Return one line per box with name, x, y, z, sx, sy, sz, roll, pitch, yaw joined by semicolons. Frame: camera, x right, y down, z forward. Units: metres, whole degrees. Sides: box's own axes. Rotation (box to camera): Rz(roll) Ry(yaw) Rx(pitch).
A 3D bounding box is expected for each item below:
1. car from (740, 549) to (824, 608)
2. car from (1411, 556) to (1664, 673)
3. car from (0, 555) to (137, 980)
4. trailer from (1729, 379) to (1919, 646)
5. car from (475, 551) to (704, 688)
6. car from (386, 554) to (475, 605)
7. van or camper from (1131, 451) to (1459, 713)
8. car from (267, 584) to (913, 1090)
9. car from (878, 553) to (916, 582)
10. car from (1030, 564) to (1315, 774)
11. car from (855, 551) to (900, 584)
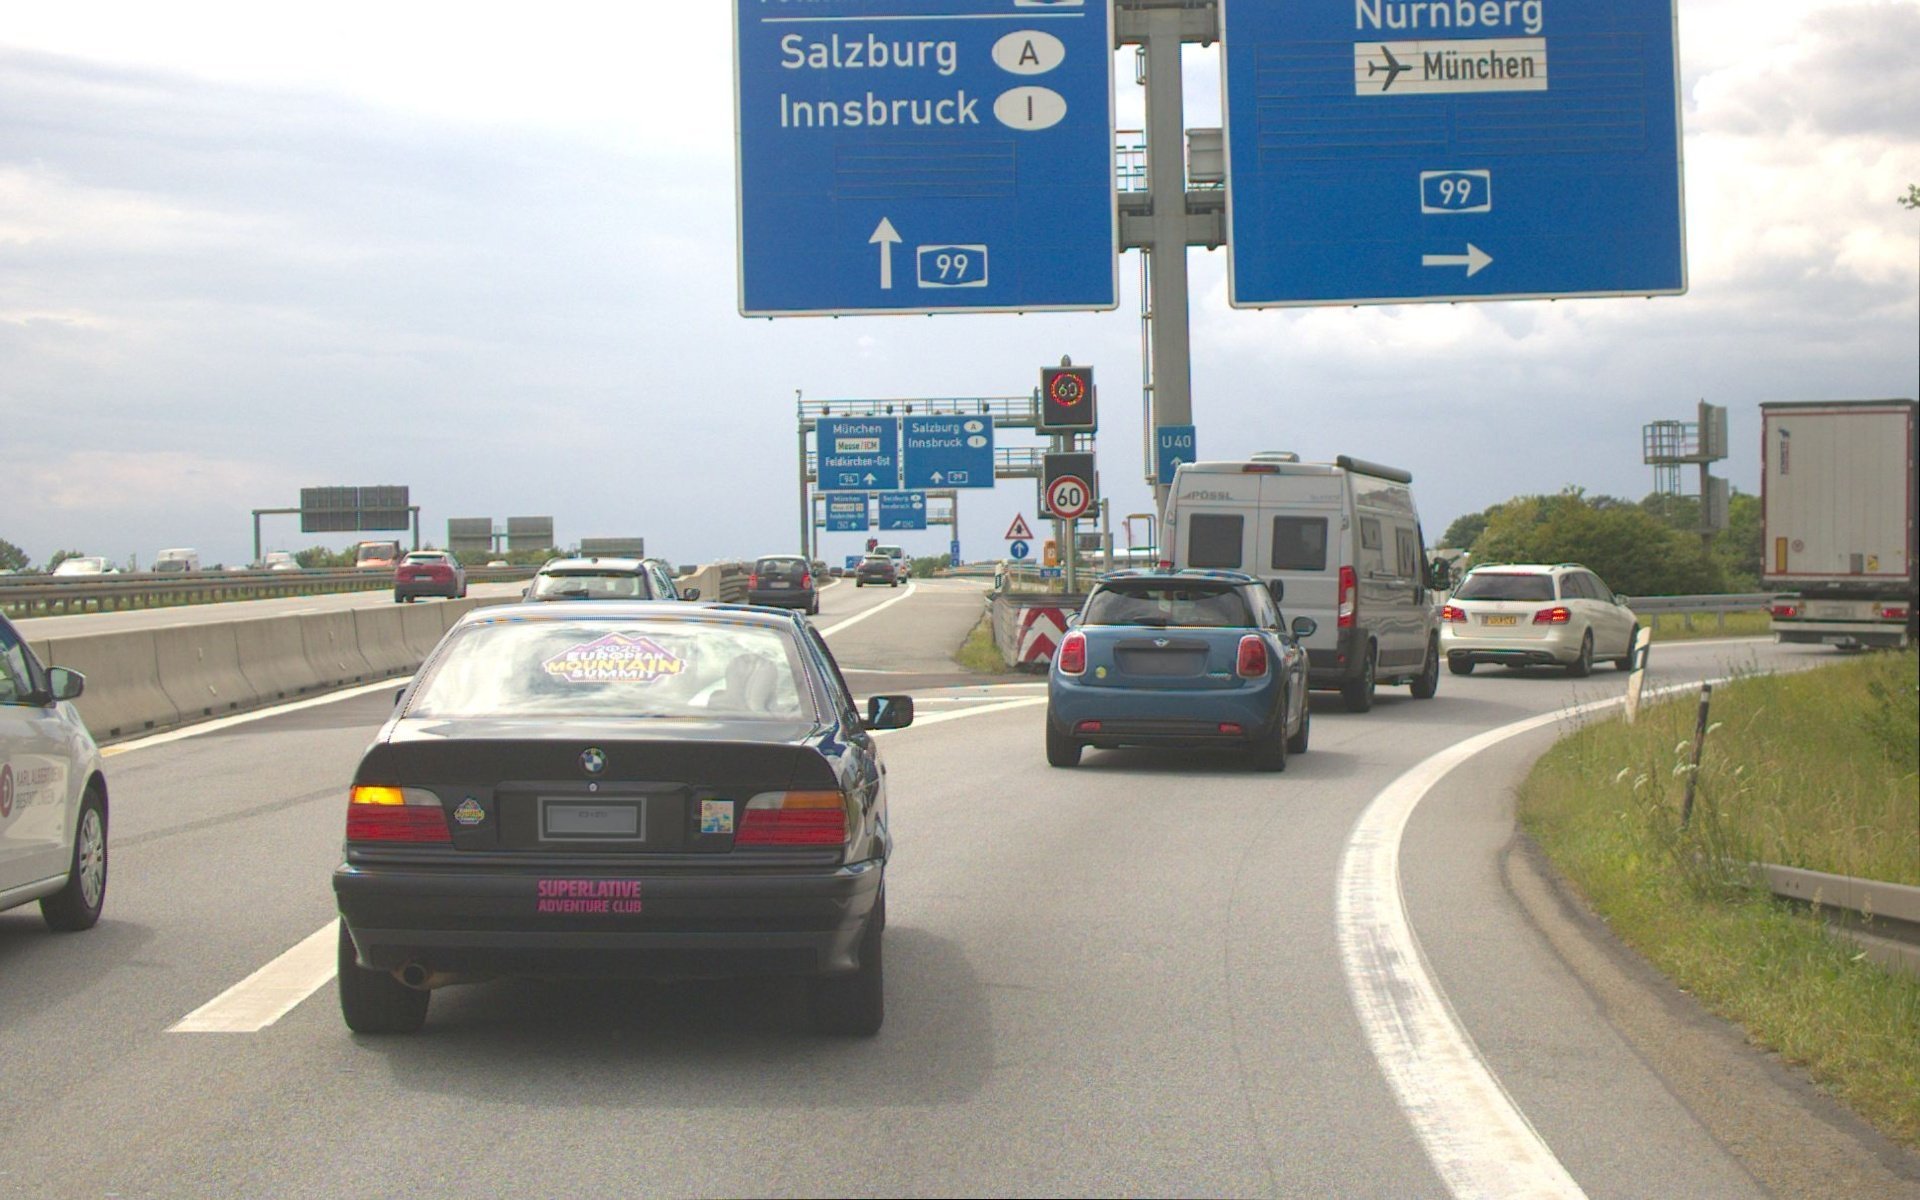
car;-4.369;-0.555;84.925;1.866;1.419;4.000;0;1;0
car;7.895;0.163;46.609;2.209;1.496;4.781;0;1;25
car;-4.145;0.584;12.270;1.585;1.478;3.535;0;1;0
trailer;17.301;-1.446;59.940;3.337;4.179;13.008;1;1;33
car;-4.112;0.180;38.763;1.994;1.463;4.000;0;1;2
car;-15.820;-0.631;102.945;1.993;1.463;4.000;0;1;1
van or camper;3.712;-0.227;36.847;2.295;2.559;6.155;0;1;17
car;-1.068;0.656;11.737;1.782;1.373;4.137;0;1;0
car;-3.157;-1.655;173.243;1.803;1.419;4.000;0;1;1
car;1.664;0.458;25.779;1.730;1.414;3.664;1;1;10
car;-3.608;-1.436;150.777;1.803;1.419;4.000;0;1;1
